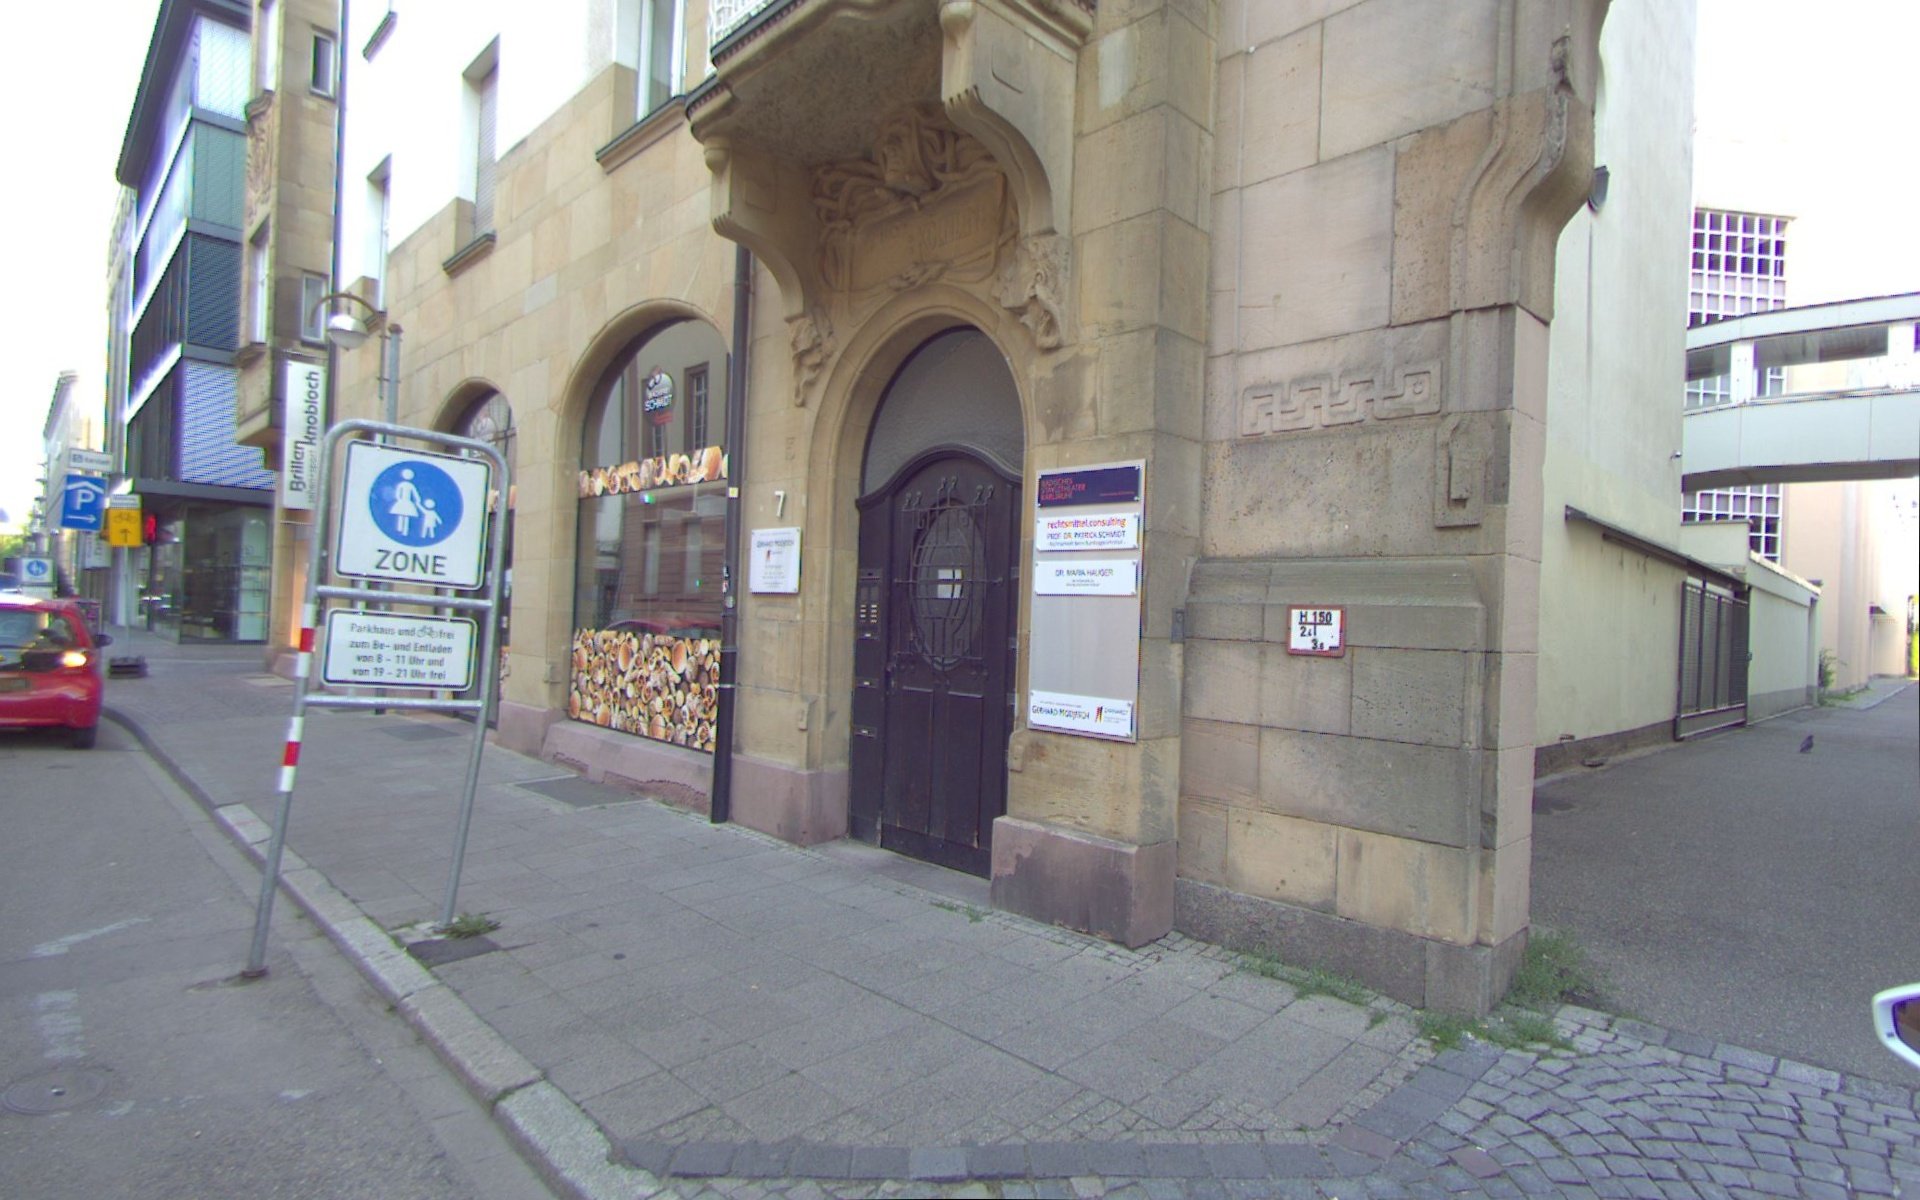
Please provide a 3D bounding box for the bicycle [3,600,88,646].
[{"bbox_3d":[-23.444,0.575,25.773,1.597,1.133,0.612,0,0,-43],"label":"bicycle"}]

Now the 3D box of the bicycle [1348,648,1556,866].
[{"bbox_3d":[3.031,0.863,6.107,0.589,1.094,1.744,1,0,45],"label":"bicycle"}]

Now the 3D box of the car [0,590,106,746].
[{"bbox_3d":[-10.145,0.624,10.513,1.628,1.460,3.116,6,-3,-43],"label":"car"}]

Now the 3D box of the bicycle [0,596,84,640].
[{"bbox_3d":[-24.540,0.468,26.669,1.940,1.145,0.612,0,0,-43],"label":"bicycle"}]
